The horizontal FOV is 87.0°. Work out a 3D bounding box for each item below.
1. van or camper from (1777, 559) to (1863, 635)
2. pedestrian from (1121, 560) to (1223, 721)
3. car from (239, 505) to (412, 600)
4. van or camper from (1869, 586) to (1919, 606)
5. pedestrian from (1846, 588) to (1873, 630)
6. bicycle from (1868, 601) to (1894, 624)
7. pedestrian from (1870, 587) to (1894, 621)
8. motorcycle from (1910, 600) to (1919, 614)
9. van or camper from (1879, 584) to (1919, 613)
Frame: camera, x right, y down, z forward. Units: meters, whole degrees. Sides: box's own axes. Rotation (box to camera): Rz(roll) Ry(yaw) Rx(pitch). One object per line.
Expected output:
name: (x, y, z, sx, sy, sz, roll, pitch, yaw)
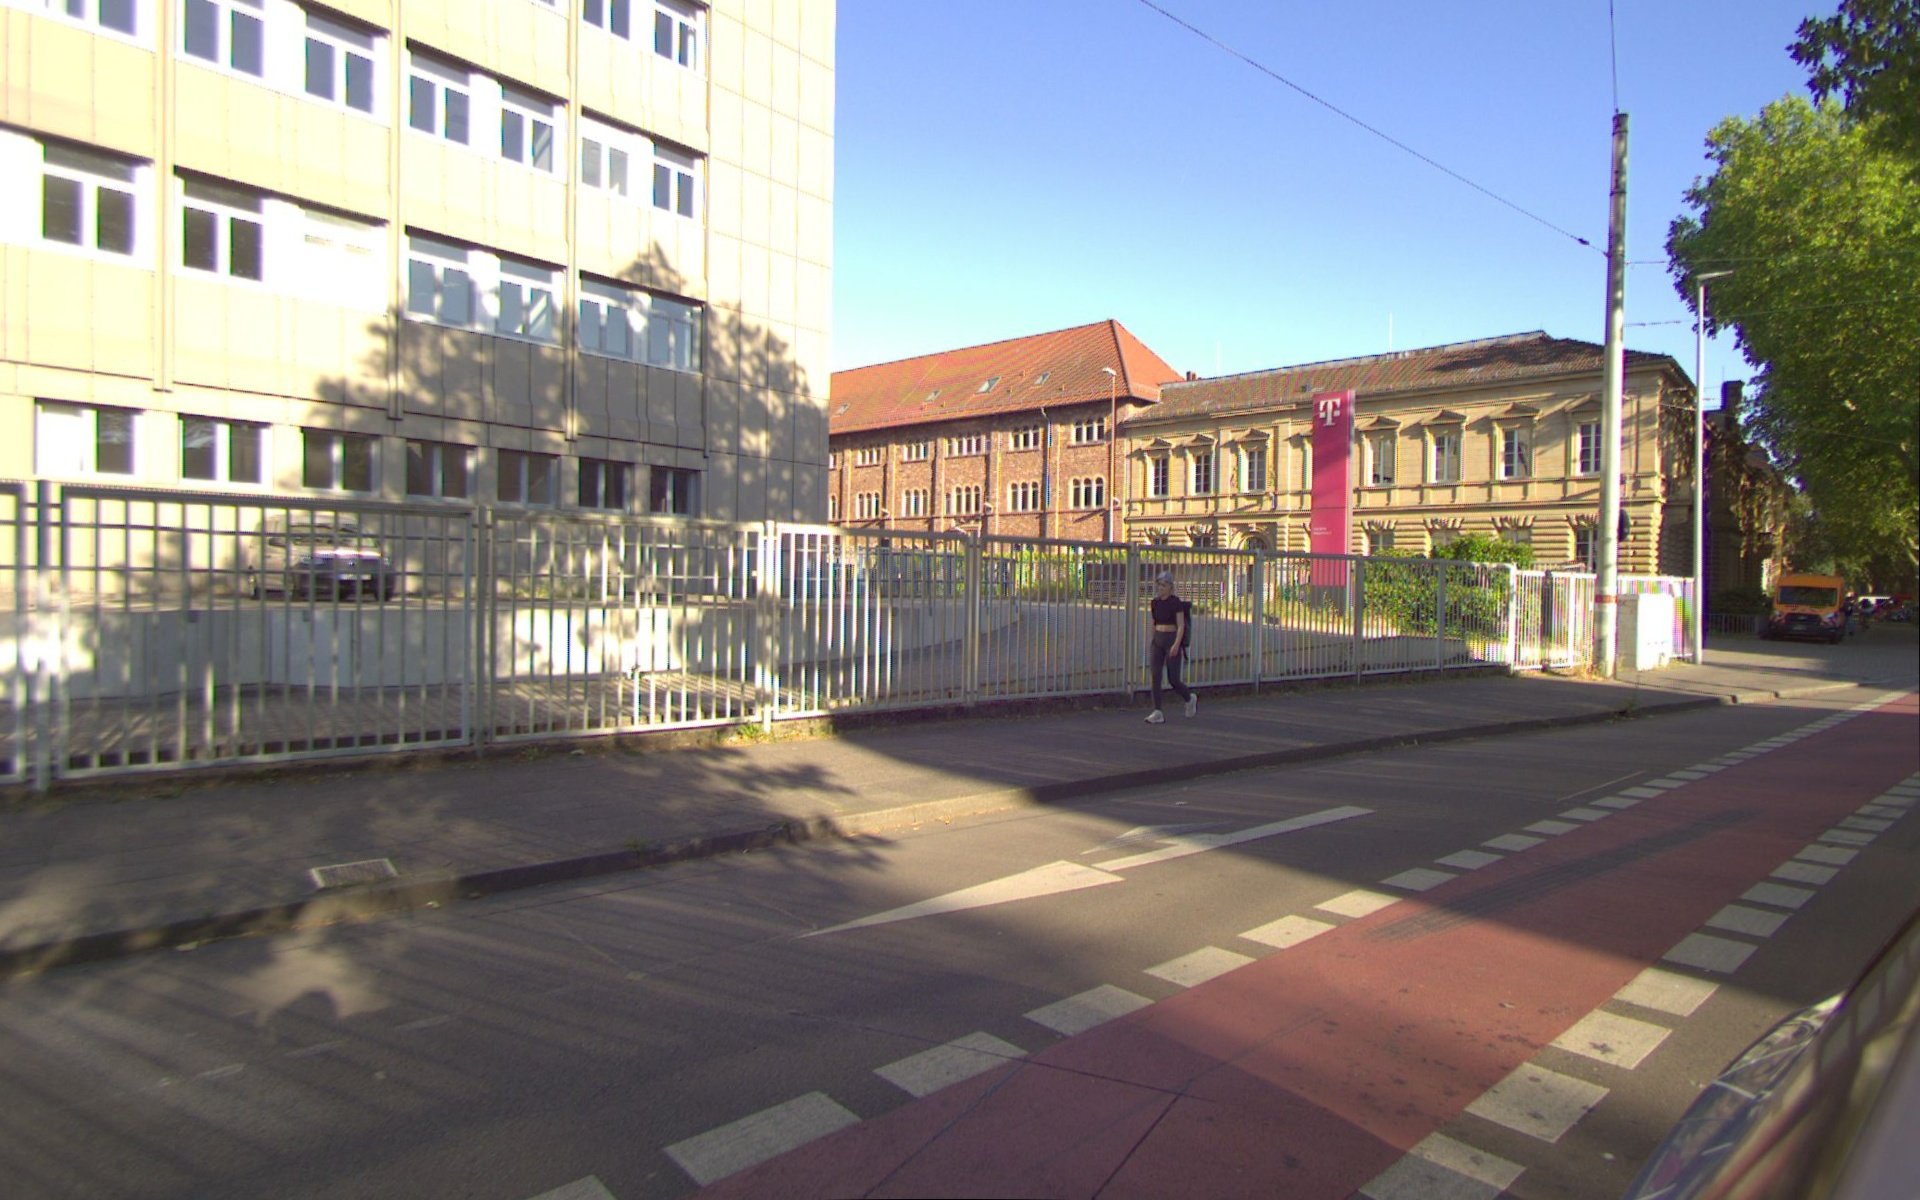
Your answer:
van or camper: (31.782, -0.127, 37.324, 2.036, 2.591, 5.681, 2, 1, 44)
pedestrian: (2.382, 0.420, 11.339, 0.915, 1.705, 0.697, 0, 1, -43)
car: (-13.066, -0.935, 20.732, 4.250, 1.739, 1.963, 2, 2, 43)
van or camper: (127.721, -0.546, 137.546, 6.083, 2.461, 2.390, 2, 1, 43)
pedestrian: (38.922, 0.383, 43.820, 0.647, 1.758, 0.997, 1, 1, 30)
bicycle: (46.147, 0.599, 50.736, 0.673, 1.044, 1.877, 4, 3, 35)
pedestrian: (46.117, 0.197, 50.638, 0.668, 1.639, 1.088, 4, 3, 36)
motorcycle: (74.667, 0.521, 78.646, 1.249, 1.067, 0.394, 1, 1, 6)
van or camper: (88.591, -0.146, 93.024, 5.907, 2.528, 2.189, 2, 4, 41)
